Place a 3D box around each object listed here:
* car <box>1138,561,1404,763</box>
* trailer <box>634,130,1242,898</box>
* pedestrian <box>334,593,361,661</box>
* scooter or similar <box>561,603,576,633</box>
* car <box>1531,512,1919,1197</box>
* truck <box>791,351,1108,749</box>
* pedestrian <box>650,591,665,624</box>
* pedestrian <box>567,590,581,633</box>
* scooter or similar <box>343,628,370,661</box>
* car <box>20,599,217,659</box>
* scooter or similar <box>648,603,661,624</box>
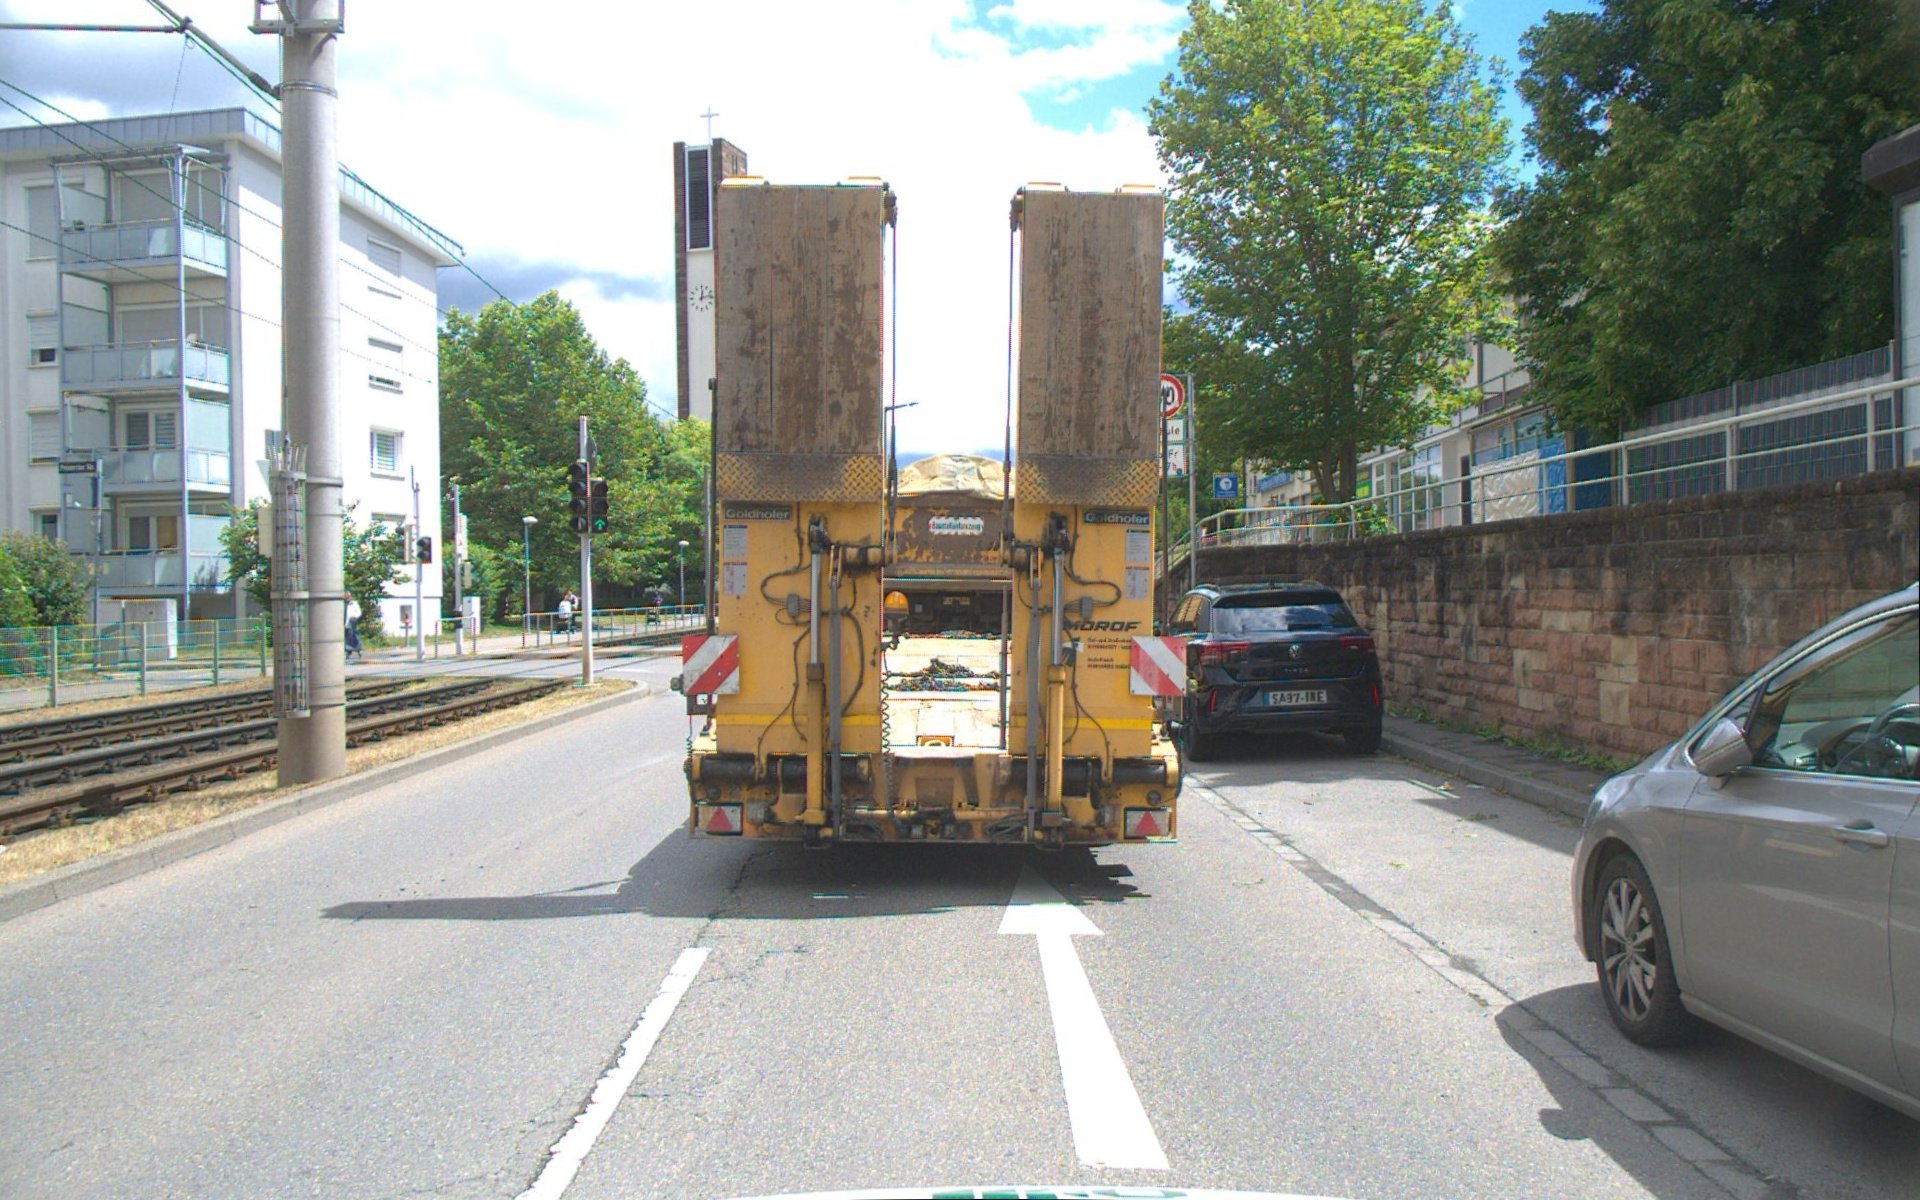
[{"bbox_3d":[2.898,0.523,16.251,1.813,1.668,4.000,-2,0,0],"label":"car"},{"bbox_3d":[-0.095,-0.443,12.305,2.885,3.664,8.683,-1,0,0],"label":"trailer"},{"bbox_3d":[-14.555,0.629,39.310,0.428,1.608,0.475,0,0,4],"label":"pedestrian"},{"bbox_3d":[-14.298,0.640,60.464,0.331,1.076,0.688,-1,1,3],"label":"scooter or similar"},{"bbox_3d":[3.154,0.583,4.255,1.754,1.646,4.247,-2,0,-2],"label":"car"},{"bbox_3d":[-0.093,-0.476,17.605,2.882,3.635,4.876,0,0,0],"label":"truck"},{"bbox_3d":[-14.256,0.355,77.988,0.552,1.540,0.645,1,0,-2],"label":"pedestrian"},{"bbox_3d":[-14.275,0.423,61.108,0.341,1.564,0.557,-1,0,3],"label":"pedestrian"},{"bbox_3d":[-14.213,1.055,38.954,0.428,0.760,0.475,0,0,4],"label":"scooter or similar"},{"bbox_3d":[-20.613,0.702,40.609,3.902,1.369,1.903,-1,0,7],"label":"car"},{"bbox_3d":[-14.272,0.626,77.333,0.495,0.988,0.645,1,0,-2],"label":"scooter or similar"}]
